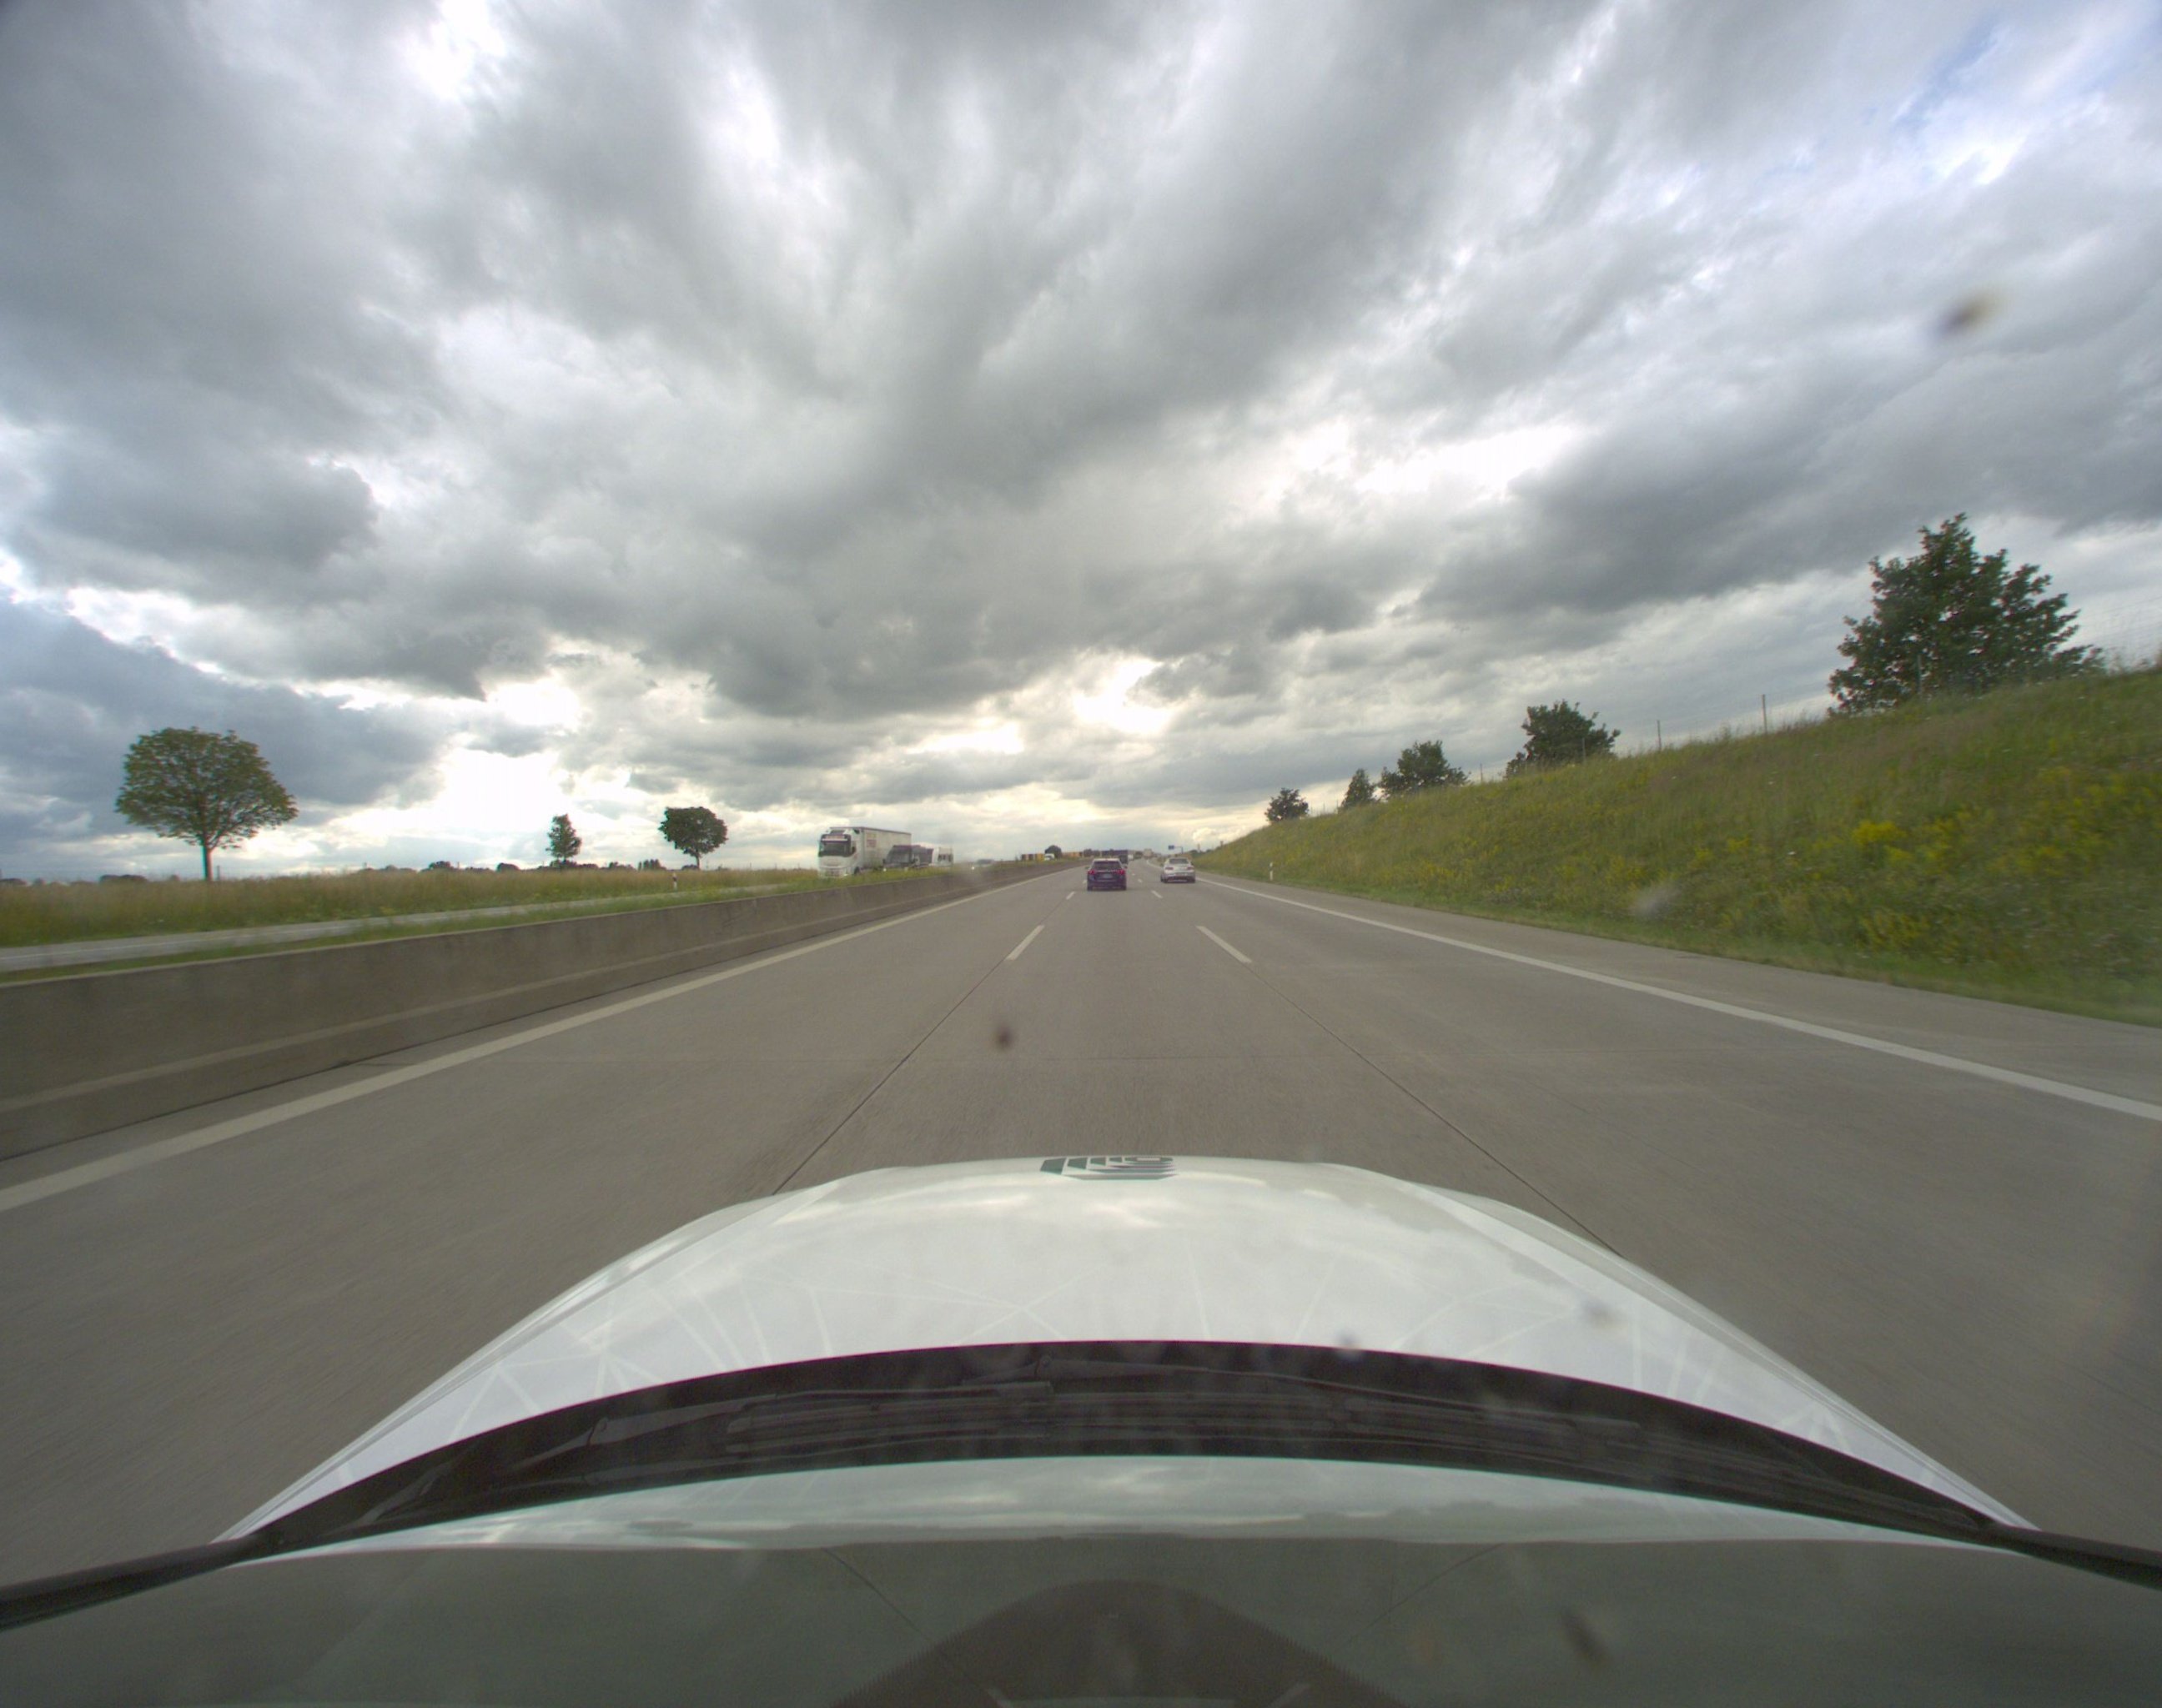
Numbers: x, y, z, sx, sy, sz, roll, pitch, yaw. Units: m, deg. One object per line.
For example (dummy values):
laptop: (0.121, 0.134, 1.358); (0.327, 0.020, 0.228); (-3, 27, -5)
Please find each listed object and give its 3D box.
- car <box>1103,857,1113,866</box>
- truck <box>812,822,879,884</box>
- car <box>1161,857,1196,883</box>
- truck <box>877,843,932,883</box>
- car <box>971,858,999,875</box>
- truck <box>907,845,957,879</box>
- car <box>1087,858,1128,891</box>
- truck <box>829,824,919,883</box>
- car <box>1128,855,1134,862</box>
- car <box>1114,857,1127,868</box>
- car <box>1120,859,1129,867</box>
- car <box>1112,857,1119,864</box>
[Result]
car: (6.155, 1.730, 185.885); (2.039, 2.014, 4.001); (0, -1, 2)
truck: (-17.034, -0.041, 59.328); (2.829, 4.256, 6.096); (0, -1, 3)
car: (5.559, 0.890, 46.741); (1.781, 1.403, 4.225); (-1, -1, 4)
truck: (-12.867, 0.634, 59.892); (2.243, 2.725, 7.128); (0, 0, 1)
car: (-8.743, 1.090, 74.391); (1.987, 1.482, 4.212); (-1, 0, 0)
truck: (-12.467, 0.641, 68.558); (2.605, 2.725, 6.923); (0, 0, 2)
car: (1.250, 0.914, 37.693); (1.768, 1.413, 4.002); (-1, -1, 2)
truck: (-16.607, 0.096, 66.892); (2.829, 4.256, 14.578); (-1, -1, 3)
car: (15.355, 1.363, 249.525); (1.985, 2.014, 4.004); (-1, -1, 4)
car: (7.262, 1.628, 150.010); (1.987, 2.014, 3.998); (0, -1, 0)
car: (10.814, 2.307, 203.496); (1.984, 2.014, 4.006); (0, 0, 5)
car: (10.404, 1.950, 243.734); (1.988, 2.014, 3.998); (0, -1, -1)
